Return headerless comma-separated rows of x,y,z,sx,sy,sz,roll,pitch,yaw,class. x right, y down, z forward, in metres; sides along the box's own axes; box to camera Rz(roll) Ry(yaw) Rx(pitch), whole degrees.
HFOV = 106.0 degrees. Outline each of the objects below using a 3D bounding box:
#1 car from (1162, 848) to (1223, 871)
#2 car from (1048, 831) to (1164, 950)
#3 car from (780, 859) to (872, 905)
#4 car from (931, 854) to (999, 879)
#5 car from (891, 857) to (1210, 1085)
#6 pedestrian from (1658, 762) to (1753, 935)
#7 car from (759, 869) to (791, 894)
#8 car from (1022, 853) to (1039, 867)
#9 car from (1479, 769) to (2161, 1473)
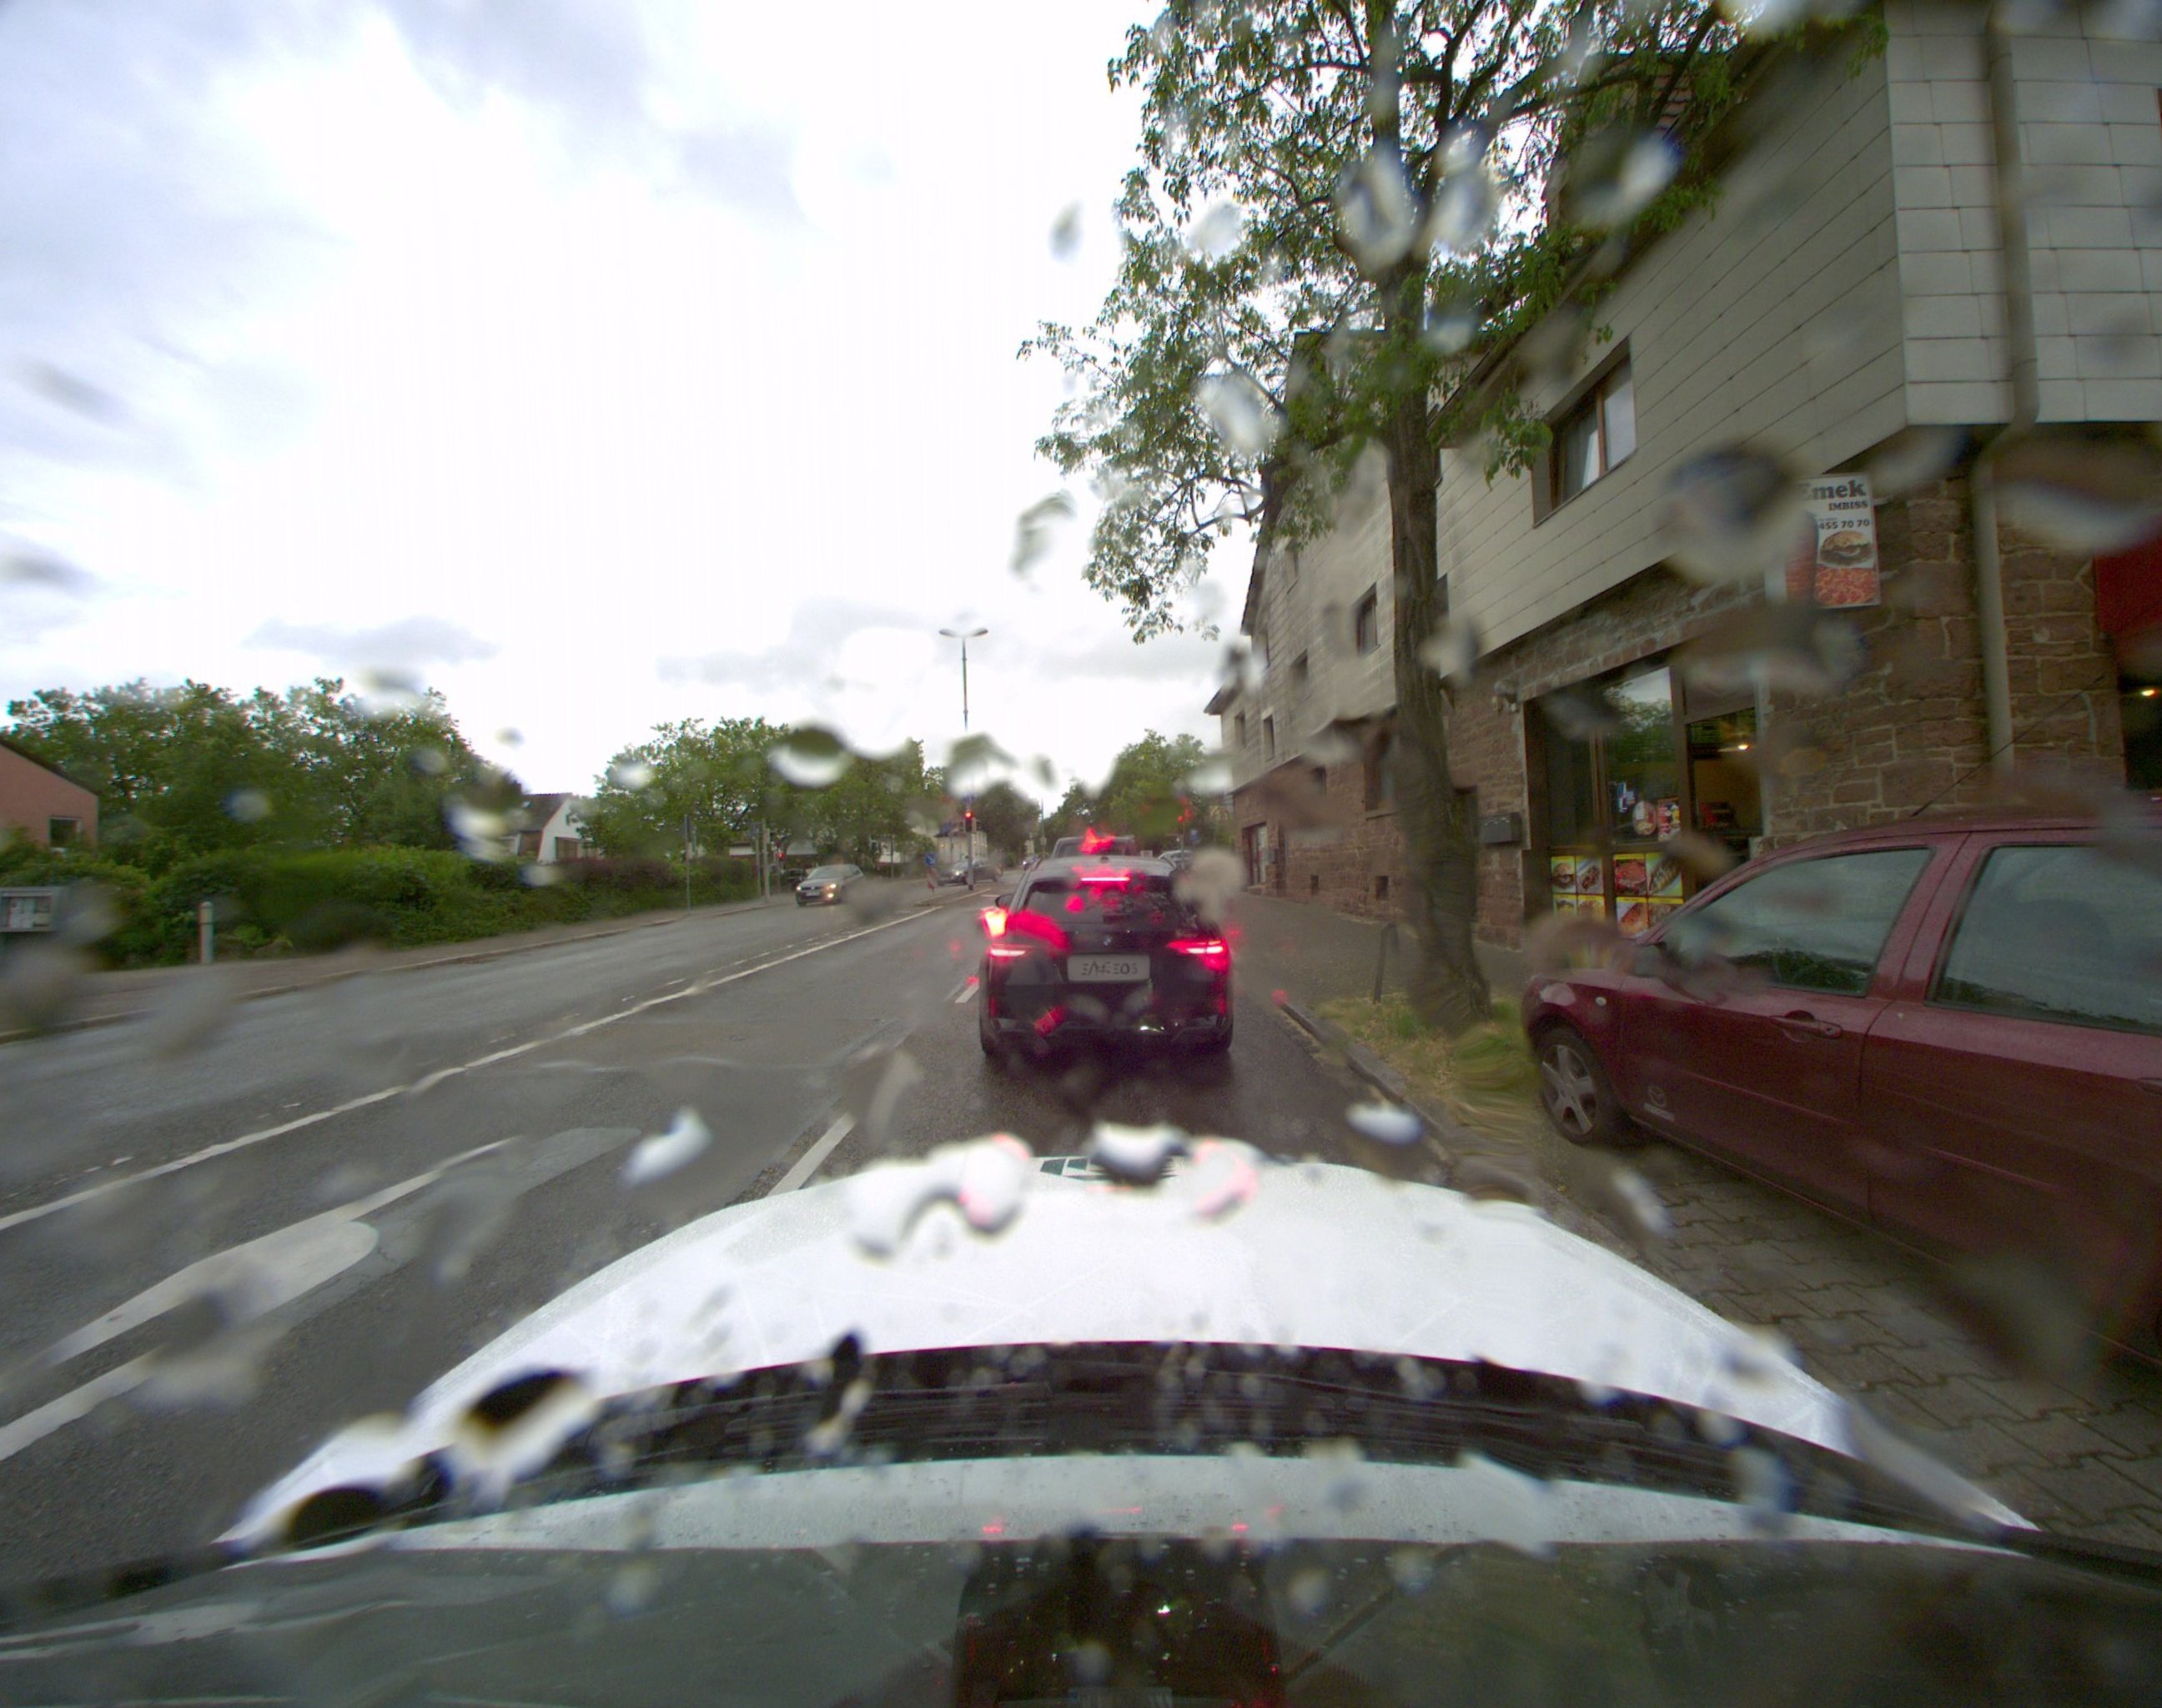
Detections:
8.189,0.417,59.777,4.003,1.552,1.811,-2,0,-22,car
0.392,0.568,14.794,1.778,1.817,3.999,-1,0,0,car
-9.413,1.008,30.427,1.985,1.510,3.958,-1,0,3,car
-6.594,0.716,46.519,1.825,1.288,4.024,-1,0,27,car
-0.217,0.768,7.554,2.058,1.446,4.481,-1,0,-1,car
6.877,-0.061,8.983,0.635,1.839,0.483,-1,0,1,pedestrian
-21.664,1.904,57.761,2.000,1.552,3.973,-2,0,-20,car
-5.418,0.612,88.199,1.459,1.398,3.323,-1,0,2,car
3.038,0.515,2.642,1.579,1.490,3.626,-5,1,-1,car
